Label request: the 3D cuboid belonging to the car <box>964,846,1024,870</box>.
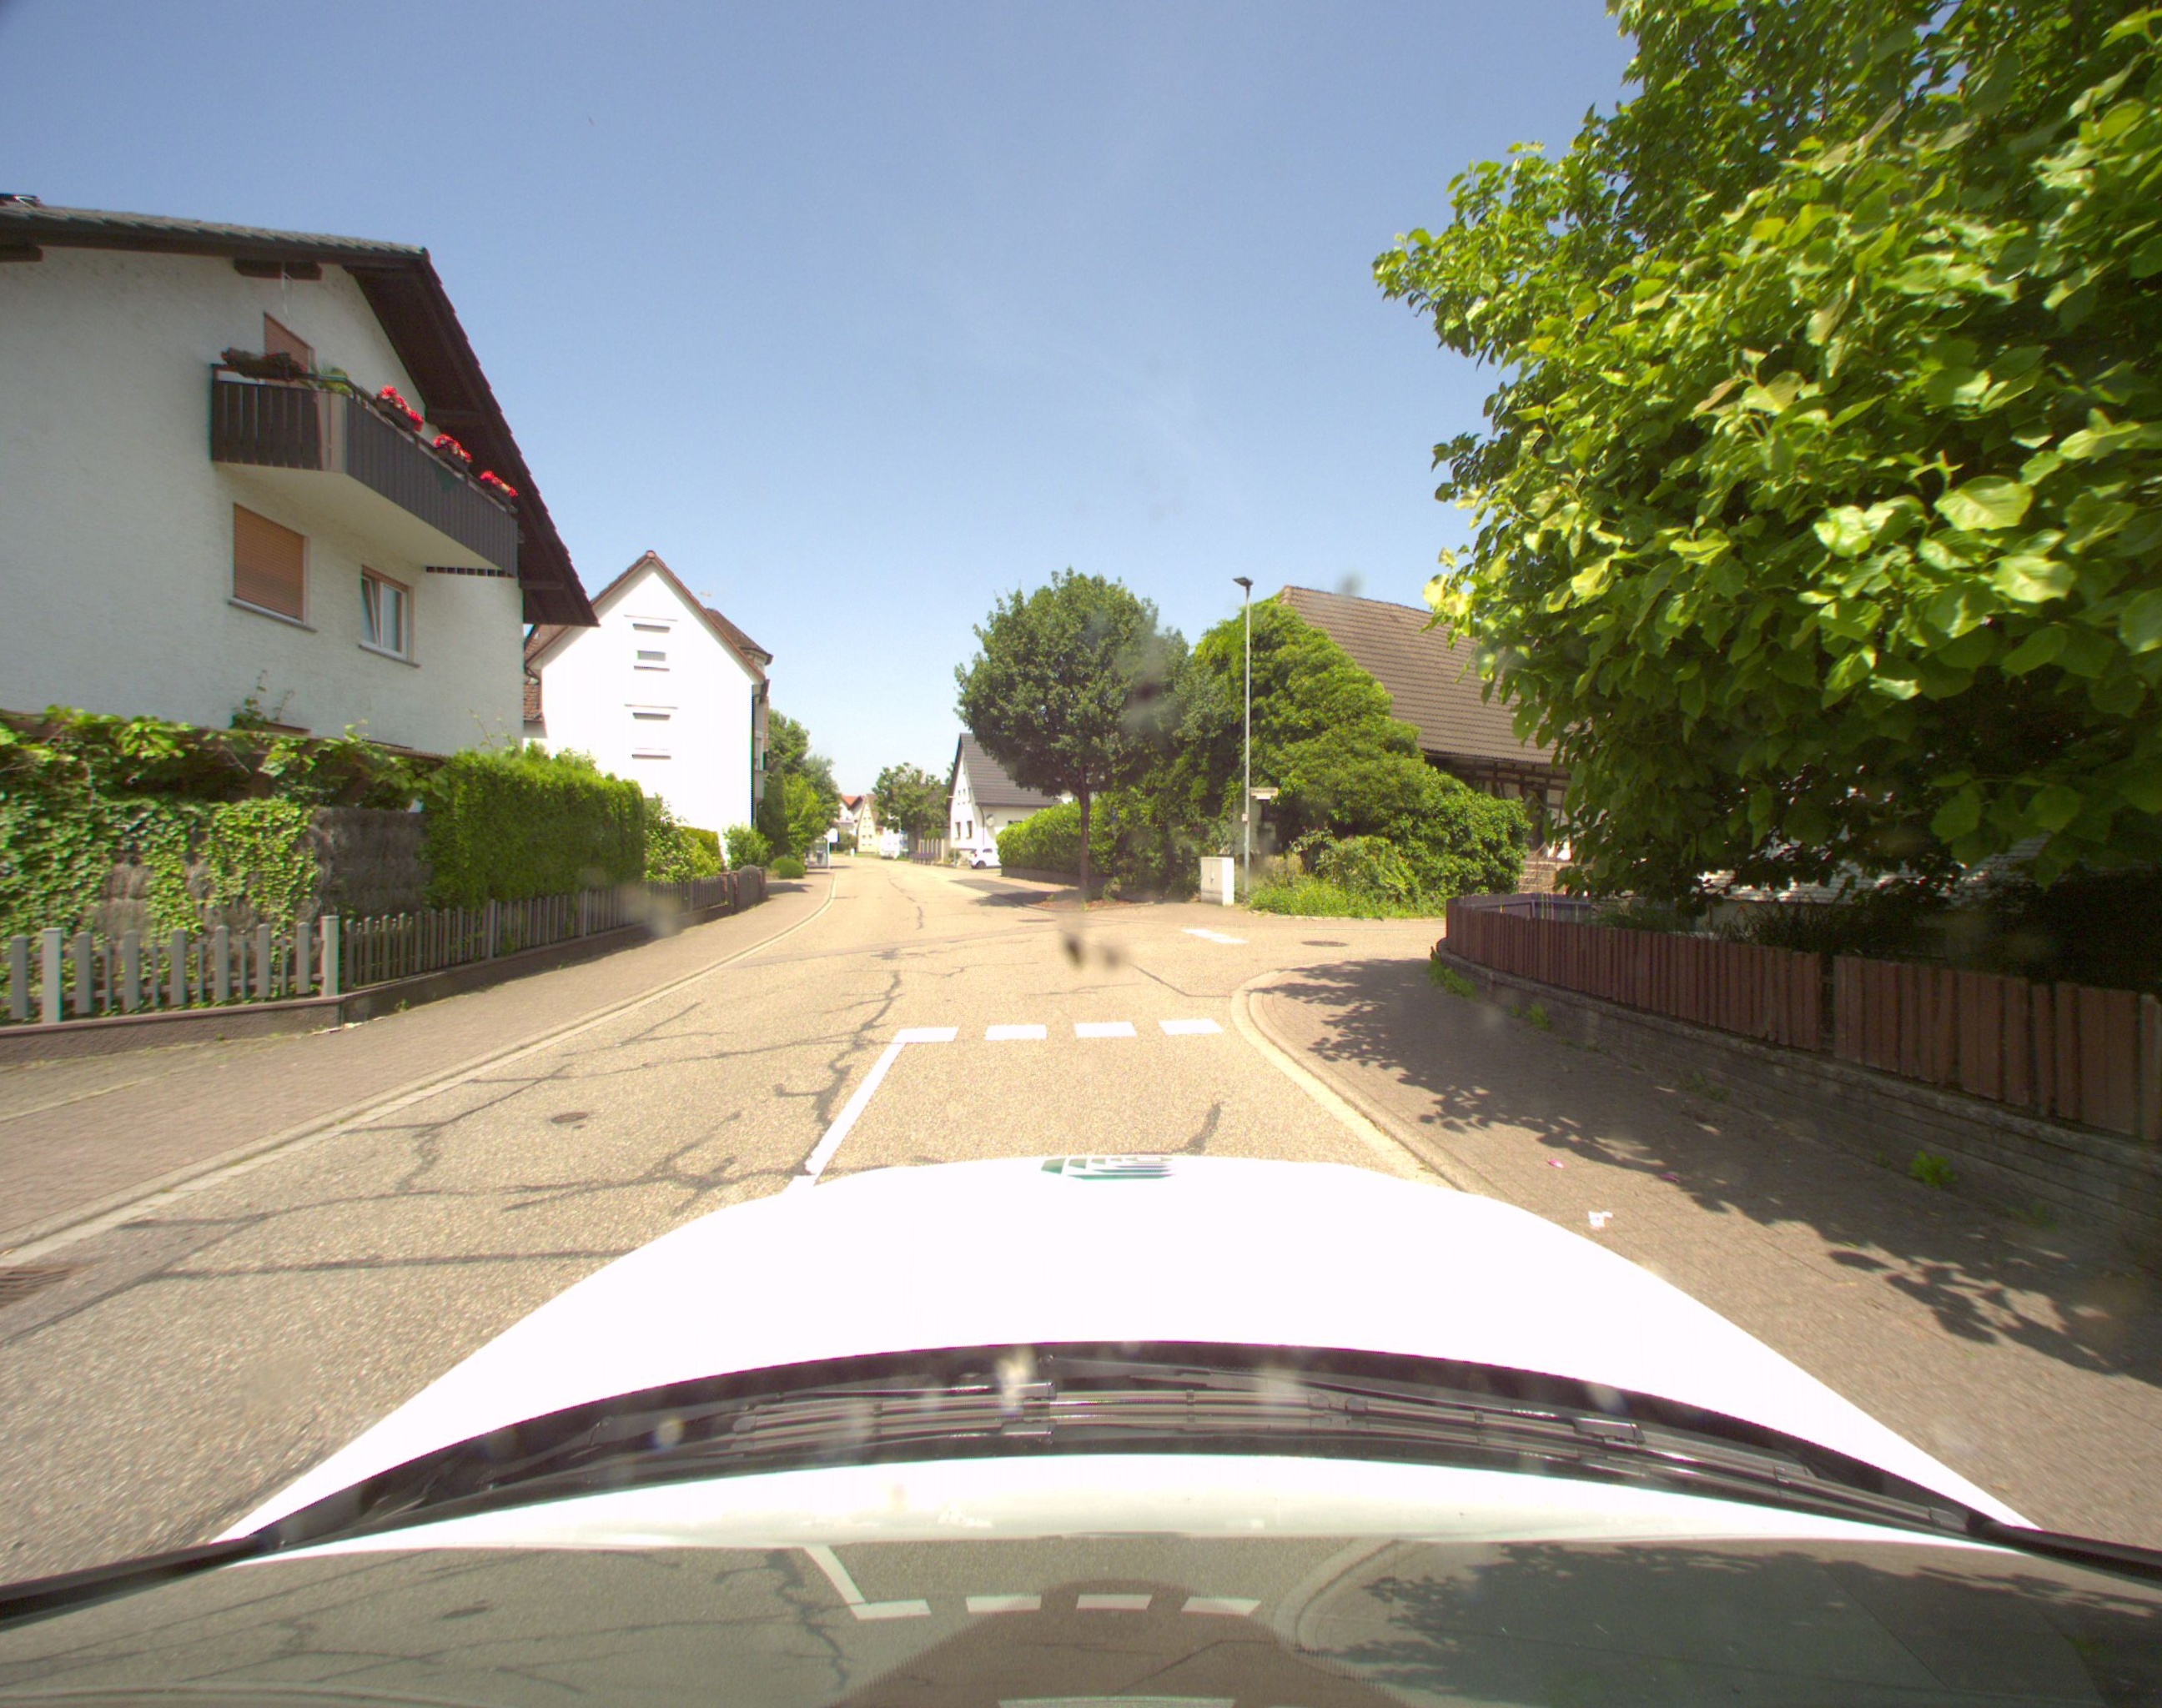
[{"bbox_3d":[-5.861,0.239,54.786,3.674,1.474,1.752,-2,2,-24],"label":"car"}]
